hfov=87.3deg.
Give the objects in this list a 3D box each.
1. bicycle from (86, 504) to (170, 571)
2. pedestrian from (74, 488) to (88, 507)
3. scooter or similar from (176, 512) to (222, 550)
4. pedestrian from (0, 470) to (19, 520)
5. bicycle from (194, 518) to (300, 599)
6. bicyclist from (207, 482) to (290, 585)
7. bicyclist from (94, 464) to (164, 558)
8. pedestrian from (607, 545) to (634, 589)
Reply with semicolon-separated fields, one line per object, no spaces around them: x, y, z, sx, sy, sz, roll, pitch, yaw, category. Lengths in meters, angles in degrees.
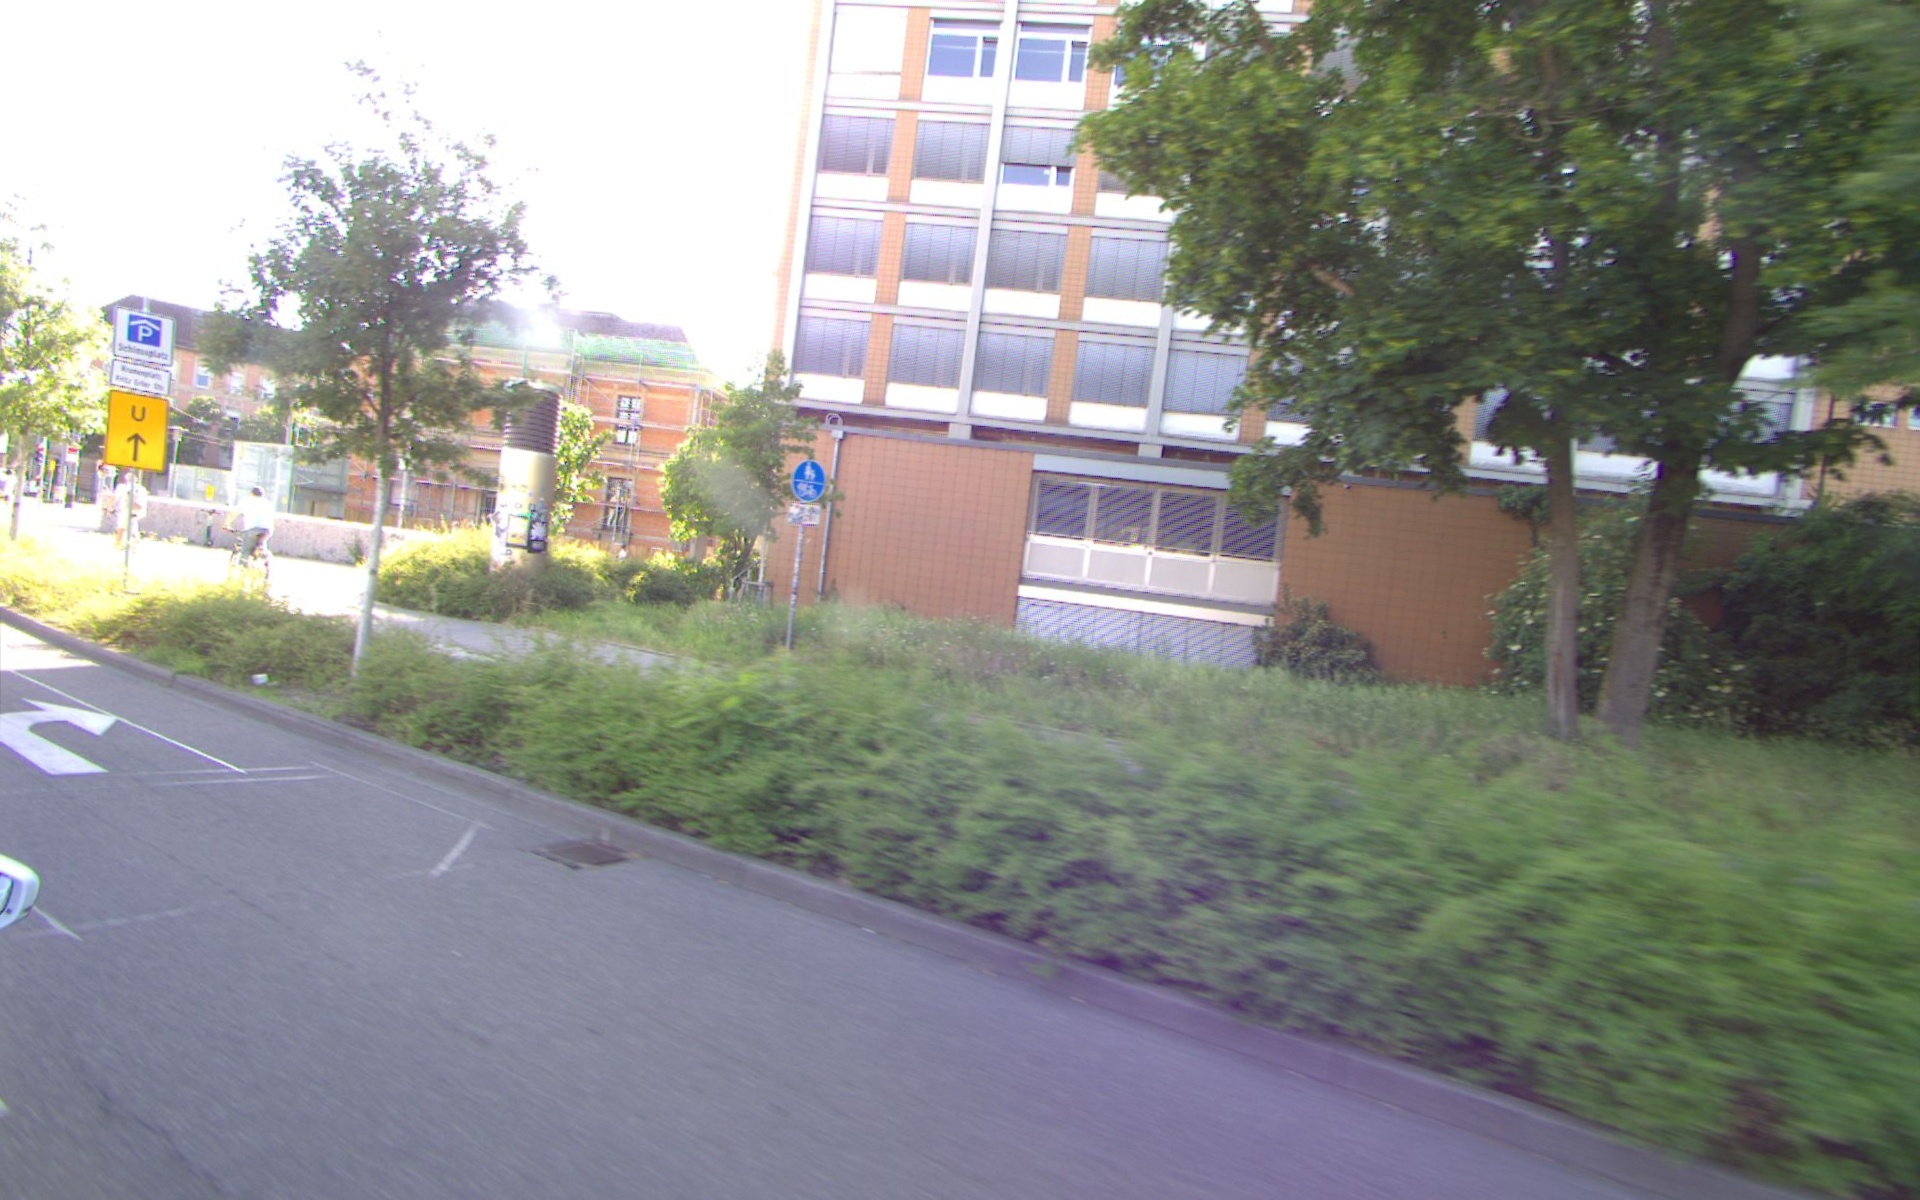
-17.251;-1.302;20.845;1.839;1.180;0.746;8;1;33;bicycle
-73.786;-8.621;84.448;0.787;1.427;0.599;10;2;32;pedestrian
-24.925;-2.252;32.966;1.226;1.025;0.468;10;2;16;scooter or similar
-35.274;-3.861;36.949;0.587;1.744;0.867;6;-1;-20;pedestrian
-12.523;-0.727;17.657;1.838;1.180;0.717;8;1;29;bicycle
-12.496;-1.162;17.664;0.961;1.637;0.721;8;1;29;bicyclist
-17.221;-1.842;20.845;0.961;1.785;0.720;8;2;32;bicyclist
-14.769;-1.434;43.732;0.777;1.774;0.537;10;2;37;pedestrian
